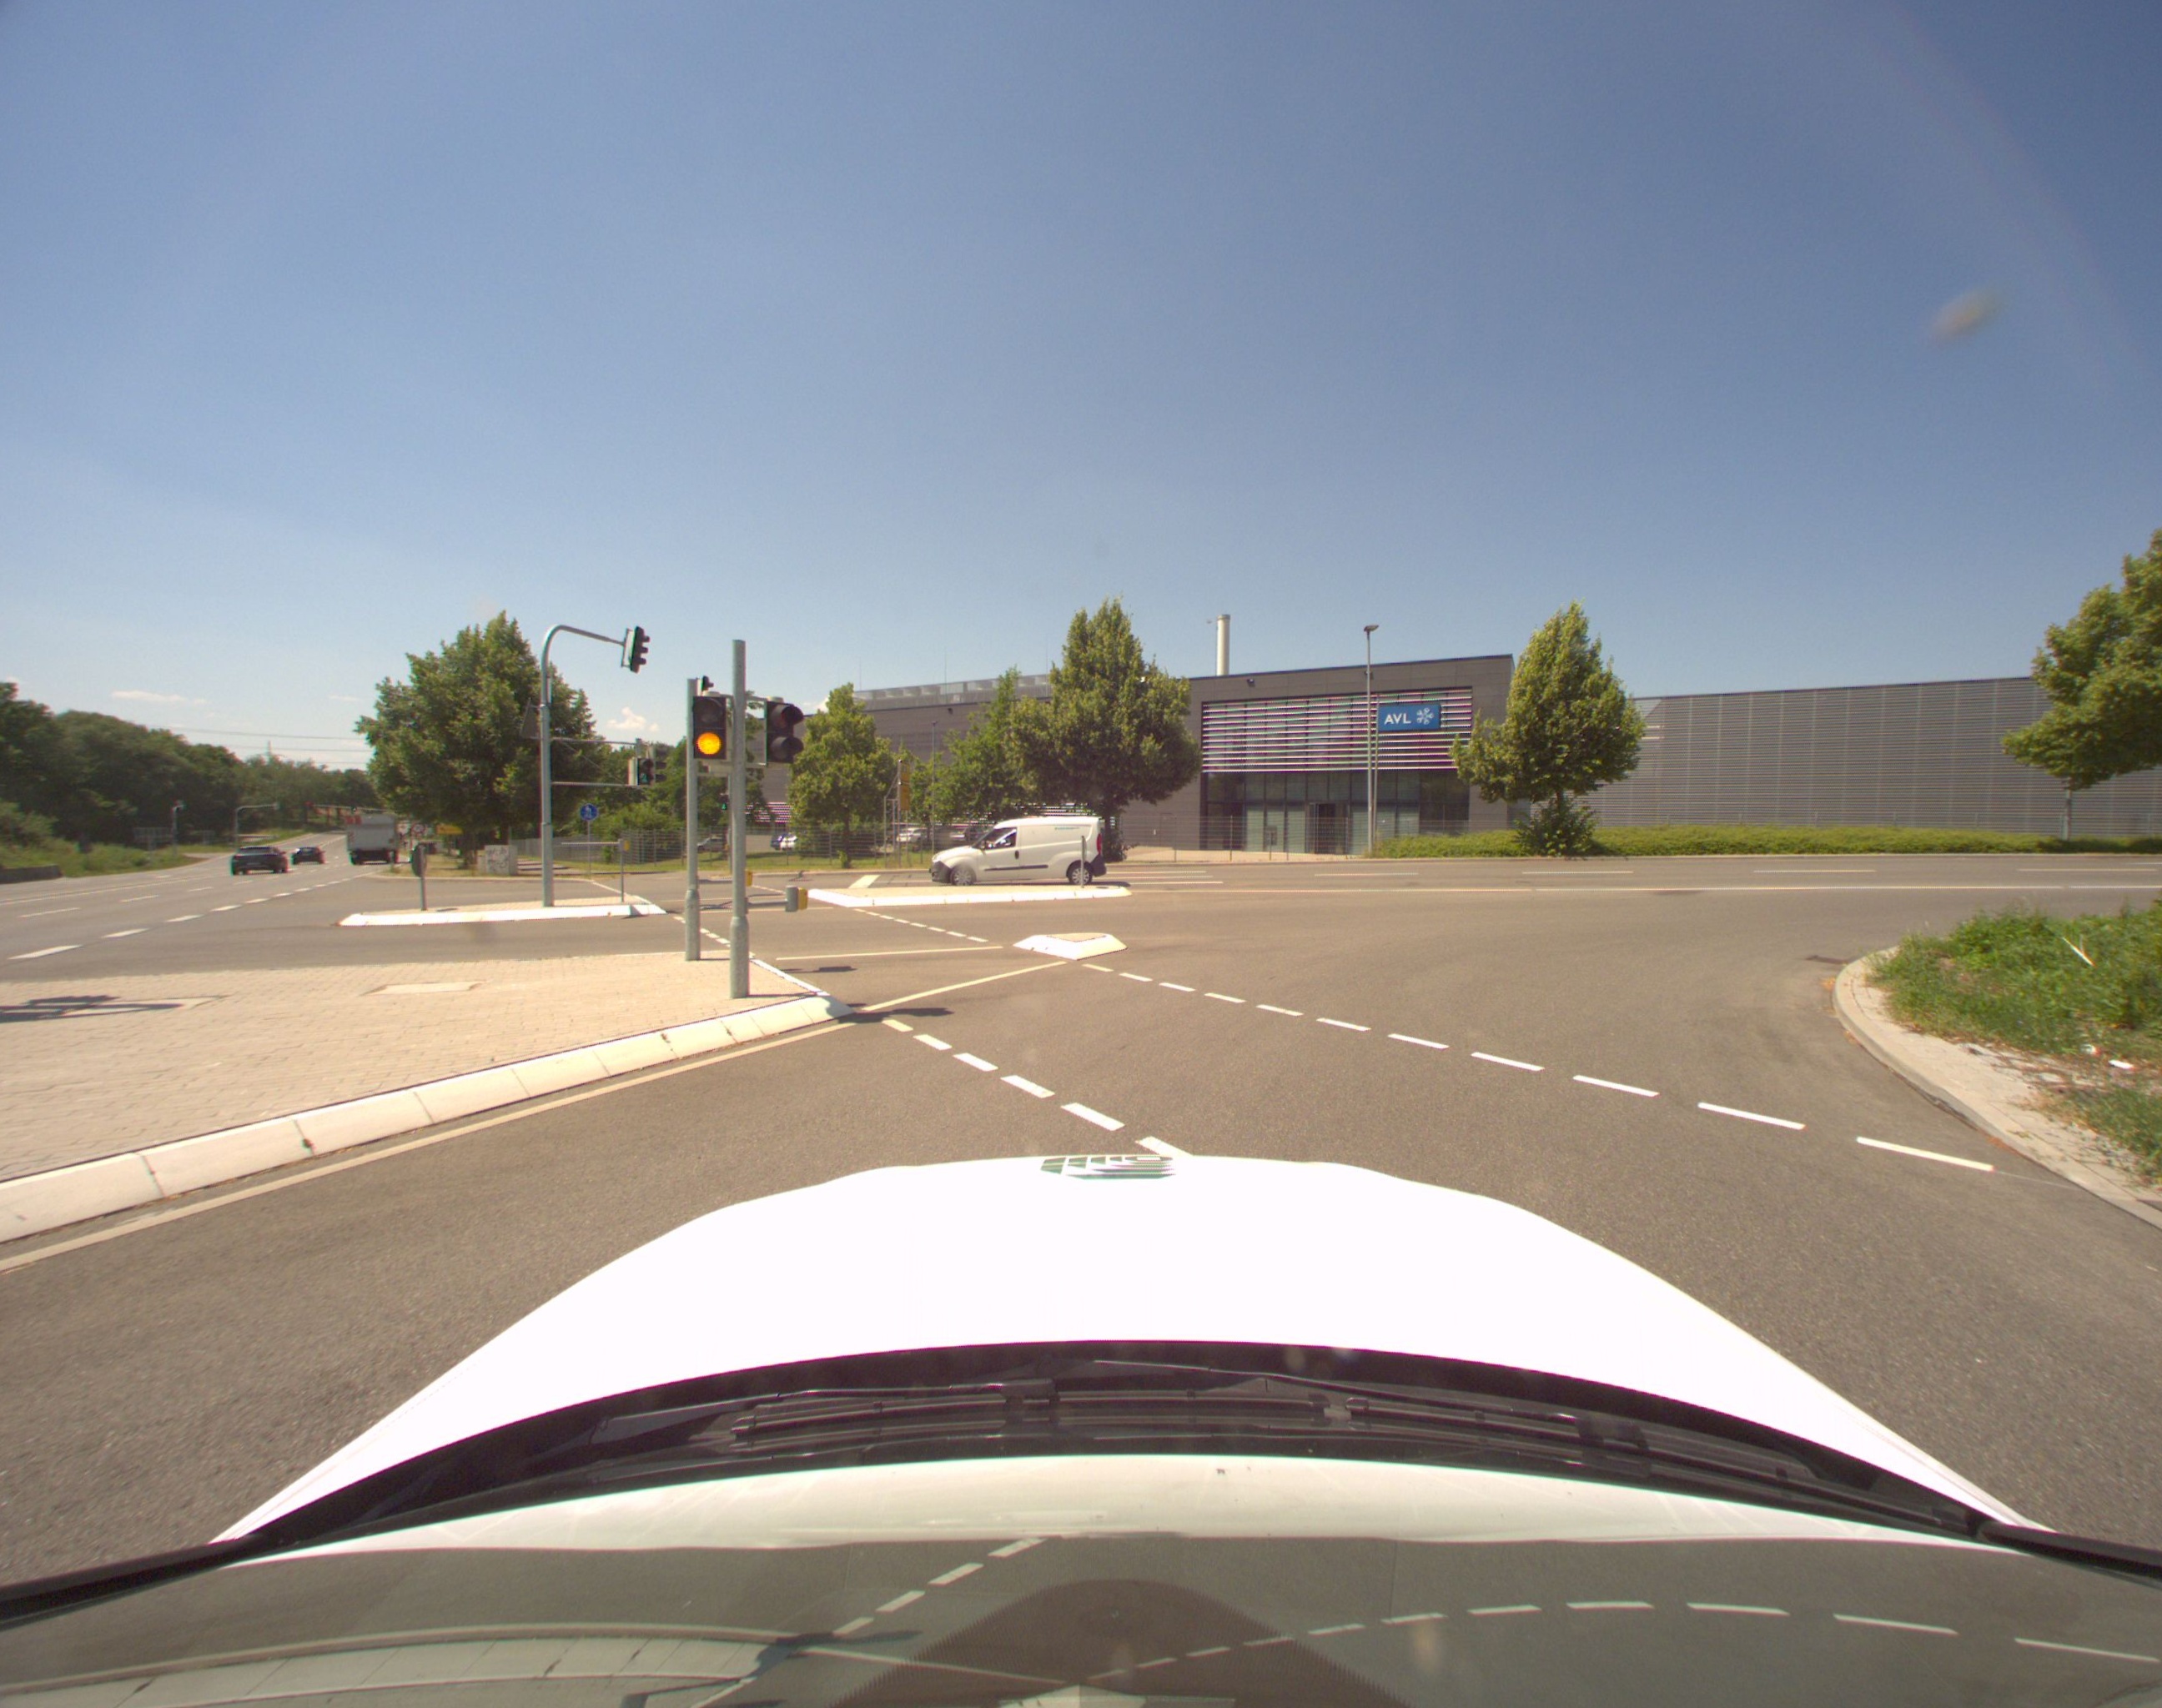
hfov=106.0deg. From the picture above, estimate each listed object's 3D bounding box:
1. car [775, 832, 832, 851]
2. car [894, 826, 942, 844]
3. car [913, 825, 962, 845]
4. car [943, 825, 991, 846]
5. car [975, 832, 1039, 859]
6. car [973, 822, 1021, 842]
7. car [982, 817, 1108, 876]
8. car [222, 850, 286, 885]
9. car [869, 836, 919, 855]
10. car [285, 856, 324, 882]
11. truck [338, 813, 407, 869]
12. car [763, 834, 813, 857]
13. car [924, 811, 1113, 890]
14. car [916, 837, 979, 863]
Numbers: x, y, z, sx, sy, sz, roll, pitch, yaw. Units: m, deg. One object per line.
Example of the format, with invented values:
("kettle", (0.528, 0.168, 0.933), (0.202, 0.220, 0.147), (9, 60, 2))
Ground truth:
("car", (-19.194, -0.886, 56.550), (1.595, 1.165, 3.656), (-2, 1, 26))
("car", (-13.550, -1.592, 67.880), (1.749, 1.460, 4.024), (-2, 1, 26))
("car", (-11.667, -1.535, 66.464), (1.975, 1.486, 4.024), (-2, 1, 26))
("car", (-9.123, -1.515, 65.525), (1.896, 1.517, 4.024), (-2, 1, 26))
("car", (-4.384, -0.536, 48.952), (1.975, 1.486, 4.024), (-2, 1, 26))
("car", (-6.586, -1.738, 64.206), (1.797, 1.528, 4.024), (-2, 1, 26))
("car", (-1.133, -0.275, 25.929), (3.844, 1.706, 1.999), (0, 6, -4))
("car", (-45.599, 0.734, 44.969), (2.010, 1.749, 3.953), (-3, 1, -39))
("car", (-15.860, -0.721, 69.302), (1.975, 1.486, 4.024), (-2, 1, 26))
("car", (-63.033, 1.227, 66.139), (2.011, 2.013, 3.953), (-3, 1, -40))
("truck", (-52.132, -0.927, 60.074), (3.292, 3.839, 6.133), (-3, 1, -37))
("car", (-27.120, -0.792, 75.438), (1.975, 2.013, 4.024), (-2, 1, 26))
("car", (-1.656, -0.139, 22.098), (4.845, 1.941, 1.999), (0, 6, -4))
("car", (-8.441, -0.279, 51.940), (1.975, 1.486, 4.024), (-2, 1, 26))
